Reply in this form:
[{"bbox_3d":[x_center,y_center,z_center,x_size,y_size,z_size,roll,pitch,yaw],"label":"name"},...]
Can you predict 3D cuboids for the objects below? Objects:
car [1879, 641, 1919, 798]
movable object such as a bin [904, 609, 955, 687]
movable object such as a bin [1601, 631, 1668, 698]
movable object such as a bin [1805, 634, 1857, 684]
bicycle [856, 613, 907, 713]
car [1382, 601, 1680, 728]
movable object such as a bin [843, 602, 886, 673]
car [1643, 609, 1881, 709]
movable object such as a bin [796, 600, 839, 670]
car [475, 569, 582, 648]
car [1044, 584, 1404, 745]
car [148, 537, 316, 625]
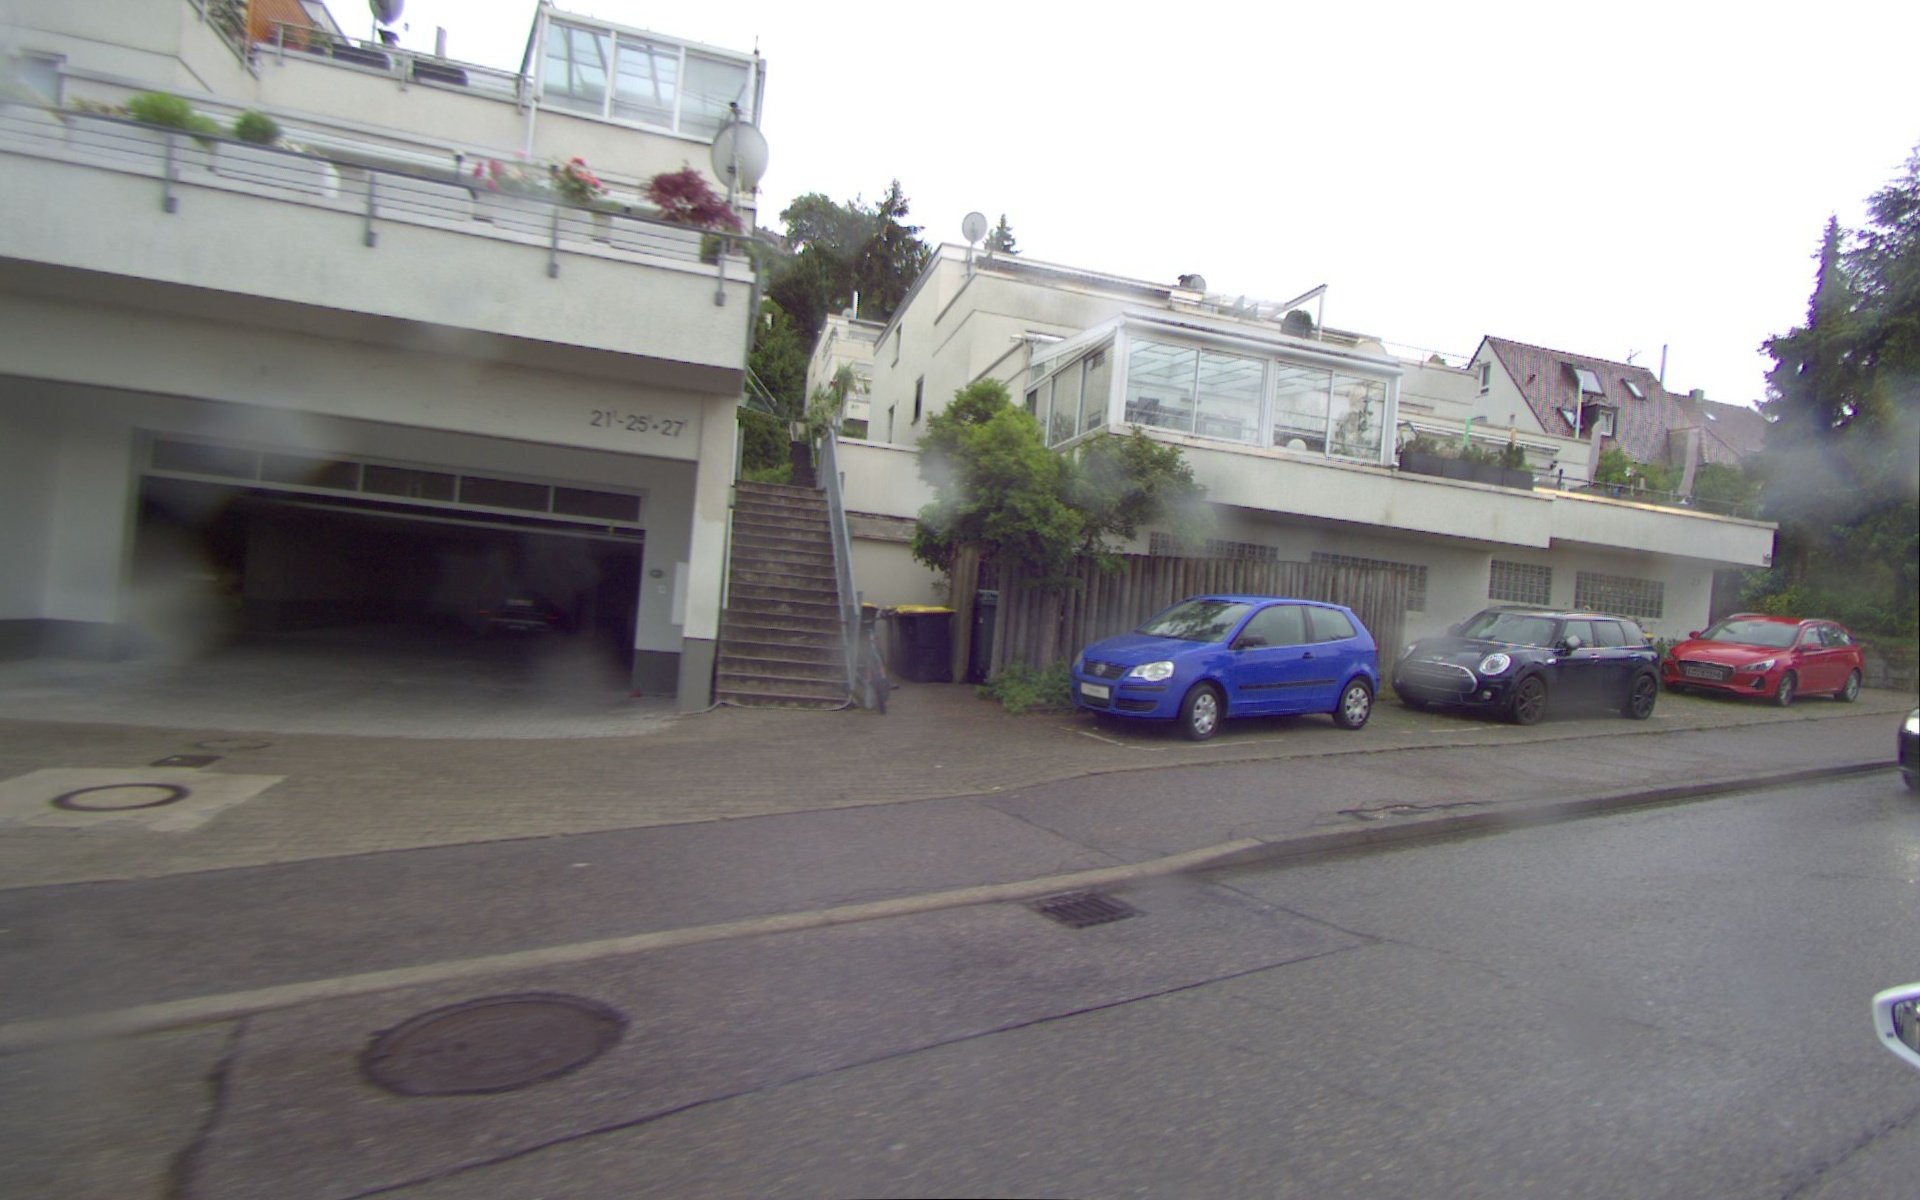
[{"bbox_3d":[11.074,1.141,9.911,4.311,1.456,1.766,2,-3,-31],"label":"car"},{"bbox_3d":[-0.436,0.670,14.209,0.553,1.055,0.546,2,2,-16],"label":"movable object such as a bin"},{"bbox_3d":[11.553,1.098,17.211,0.741,1.098,0.638,2,0,-24],"label":"movable object such as a bin"},{"bbox_3d":[19.418,1.317,22.392,0.672,1.070,0.577,2,1,-19],"label":"movable object such as a bin"},{"bbox_3d":[-0.900,0.701,11.777,0.469,1.020,1.568,3,1,-2],"label":"bicycle"},{"bbox_3d":[7.906,0.833,13.829,4.189,1.415,1.625,2,3,-31],"label":"car"},{"bbox_3d":[-1.516,0.583,15.899,0.553,1.071,0.546,2,2,-16],"label":"movable object such as a bin"},{"bbox_3d":[14.587,1.030,18.214,4.535,1.456,1.765,2,4,-31],"label":"car"},{"bbox_3d":[-2.242,0.546,15.778,0.553,1.055,0.546,2,2,-16],"label":"movable object such as a bin"},{"bbox_3d":[-9.499,0.163,22.329,1.759,1.515,3.494,4,0,-18],"label":"car"},{"bbox_3d":[3.028,0.647,11.305,3.914,1.453,1.598,1,4,-32],"label":"car"},{"bbox_3d":[-14.566,-0.373,20.312,1.649,1.515,3.494,4,0,-18],"label":"car"}]
